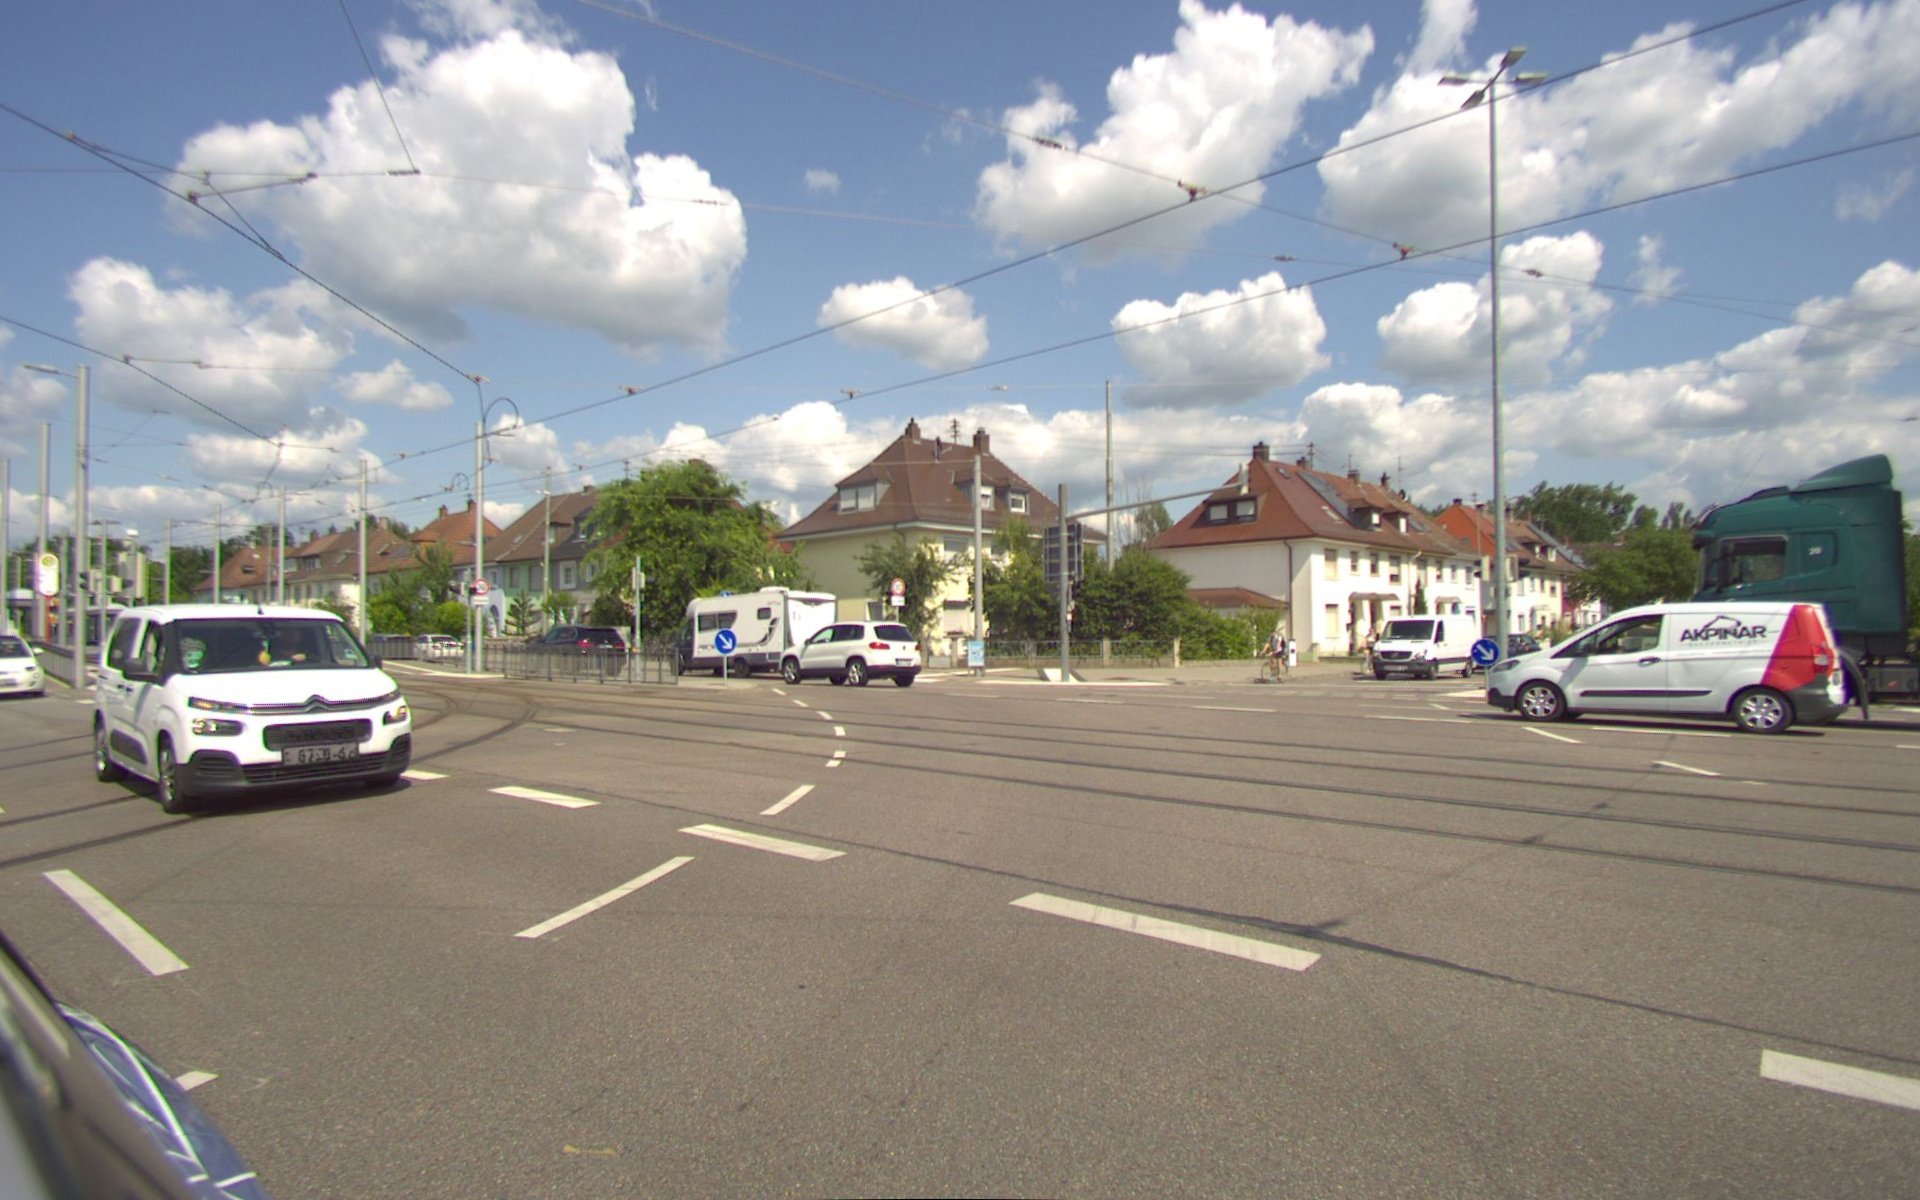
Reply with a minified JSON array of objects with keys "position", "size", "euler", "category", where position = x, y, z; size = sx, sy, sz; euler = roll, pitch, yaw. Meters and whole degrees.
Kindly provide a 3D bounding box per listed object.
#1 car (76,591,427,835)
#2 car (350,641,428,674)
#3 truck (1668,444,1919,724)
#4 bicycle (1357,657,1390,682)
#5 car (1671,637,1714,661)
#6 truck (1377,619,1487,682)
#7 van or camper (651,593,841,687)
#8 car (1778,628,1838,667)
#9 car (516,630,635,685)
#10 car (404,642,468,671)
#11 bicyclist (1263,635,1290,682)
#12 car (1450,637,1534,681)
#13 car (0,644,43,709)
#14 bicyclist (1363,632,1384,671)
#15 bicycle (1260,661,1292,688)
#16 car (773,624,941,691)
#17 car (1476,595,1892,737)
[{"position":[-6.946,0.906,9.725],"size":[4.327,1.829,1.776],"euler":[-2,-1,41],"category":"car"},{"position":[-27.115,2.706,48.001],"size":[4.176,1.362,1.972],"euler":[-1,0,42],"category":"car"},{"position":[14.077,-0.157,14.798],"size":[5.668,3.851,2.570],"euler":[-3,-6,44],"category":"truck"},{"position":[16.307,2.736,39.912],"size":[0.602,0.841,1.784],"euler":[-2,0,43],"category":"bicycle"},{"position":[53.459,3.566,73.857],"size":[2.000,1.564,4.118],"euler":[-1,0,44],"category":"car"},{"position":[17.108,1.740,36.484],"size":[1.690,1.936,6.116],"euler":[-2,0,44],"category":"truck"},{"position":[-7.595,1.349,35.143],"size":[7.752,2.952,2.299],"euler":[-1,-3,42],"category":"van or camper"},{"position":[39.909,2.202,47.608],"size":[2.000,1.608,3.945],"euler":[-1,0,42],"category":"car"},{"position":[-13.550,1.998,35.508],"size":[4.879,1.790,1.971],"euler":[-3,-4,44],"category":"car"},{"position":[-27.354,2.910,52.747],"size":[4.346,1.362,1.665],"euler":[-1,0,44],"category":"car"},{"position":[10.597,1.942,33.896],"size":[0.602,1.520,0.636],"euler":[-2,-1,43],"category":"bicyclist"},{"position":[21.730,2.366,41.297],"size":[2.000,1.564,4.118],"euler":[-1,0,44],"category":"car"},{"position":[-24.015,1.867,24.881],"size":[3.389,1.515,1.660],"euler":[-2,-1,38],"category":"car"},{"position":[16.348,2.018,39.974],"size":[0.602,1.509,0.494],"euler":[-2,-1,43],"category":"bicyclist"},{"position":[10.576,2.485,33.865],"size":[0.602,0.841,1.067],"euler":[-2,0,43],"category":"bicycle"},{"position":[-2.692,1.460,25.968],"size":[4.176,1.564,1.972],"euler":[-1,-5,42],"category":"car"},{"position":[9.815,0.836,13.987],"size":[4.472,1.649,1.774],"euler":[-2,-3,43],"category":"car"}]
